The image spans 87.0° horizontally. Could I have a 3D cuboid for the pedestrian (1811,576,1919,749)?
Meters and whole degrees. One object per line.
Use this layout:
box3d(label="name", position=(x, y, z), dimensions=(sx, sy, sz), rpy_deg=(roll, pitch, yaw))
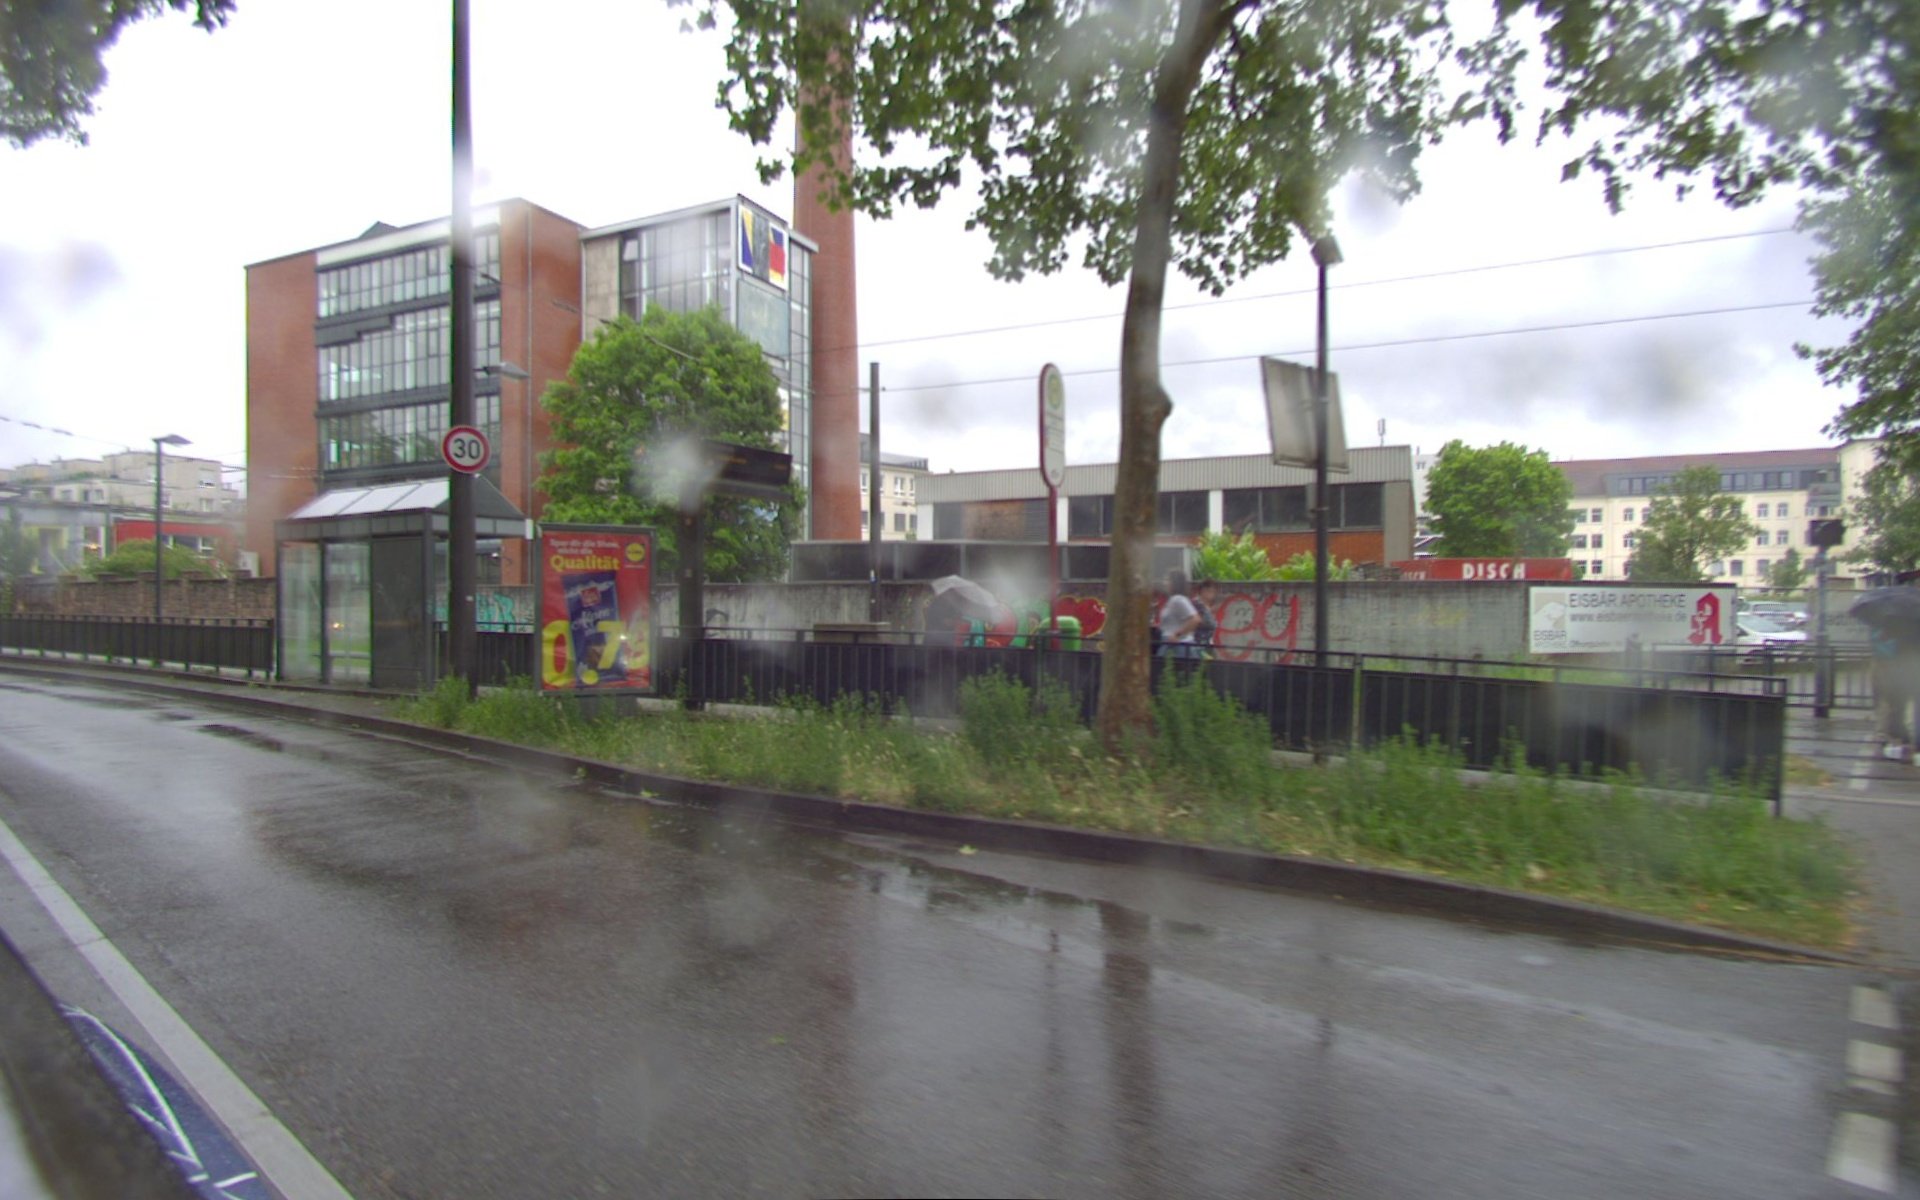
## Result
box3d(label="pedestrian", position=(10.524, 0.687, 11.311), dimensions=(1.060, 1.841, 0.986), rpy_deg=(0, -3, -4))

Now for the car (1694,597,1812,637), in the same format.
box3d(label="car", position=(33.113, 0.701, 42.370), dimensions=(1.699, 1.590, 3.614), rpy_deg=(0, 0, -14))

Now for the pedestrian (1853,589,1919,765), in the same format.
box3d(label="pedestrian", position=(9.527, 0.749, 9.954), dimensions=(0.648, 1.696, 0.799), rpy_deg=(0, -4, -11))

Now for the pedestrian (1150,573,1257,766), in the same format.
box3d(label="pedestrian", position=(2.433, 0.659, 10.093), dimensions=(0.841, 1.818, 0.819), rpy_deg=(-1, -1, 30))

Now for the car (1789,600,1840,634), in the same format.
box3d(label="car", position=(40.315, 0.772, 47.804), dimensions=(1.563, 1.545, 3.561), rpy_deg=(0, 0, 35))

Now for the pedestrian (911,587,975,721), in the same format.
box3d(label="pedestrian", position=(-0.186, 0.578, 11.193), dimensions=(0.492, 1.438, 0.606), rpy_deg=(0, 0, 25))

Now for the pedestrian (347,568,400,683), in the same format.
box3d(label="pedestrian", position=(-9.283, 0.393, 16.014), dimensions=(0.620, 1.762, 0.565), rpy_deg=(1, 0, -41))

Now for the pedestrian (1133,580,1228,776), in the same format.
box3d(label="pedestrian", position=(2.066, 0.695, 9.461), dimensions=(0.752, 1.742, 0.680), rpy_deg=(-1, -1, 23))

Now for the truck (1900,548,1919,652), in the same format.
box3d(label="truck", position=(31.642, 0.010, 29.784), dimensions=(2.135, 3.187, 5.488), rpy_deg=(0, 0, -35))

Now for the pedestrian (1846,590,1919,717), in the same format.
box3d(label="pedestrian", position=(12.174, 0.691, 13.065), dimensions=(0.648, 1.584, 0.800), rpy_deg=(0, -4, -17))

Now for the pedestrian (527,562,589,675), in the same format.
box3d(label="pedestrian", position=(-5.913, 0.264, 14.896), dimensions=(0.492, 1.615, 0.709), rpy_deg=(0, 0, 24))

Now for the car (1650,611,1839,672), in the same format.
box3d(label="car", position=(18.591, 0.933, 24.178), dimensions=(1.381, 1.315, 3.526), rpy_deg=(0, 0, -10))
